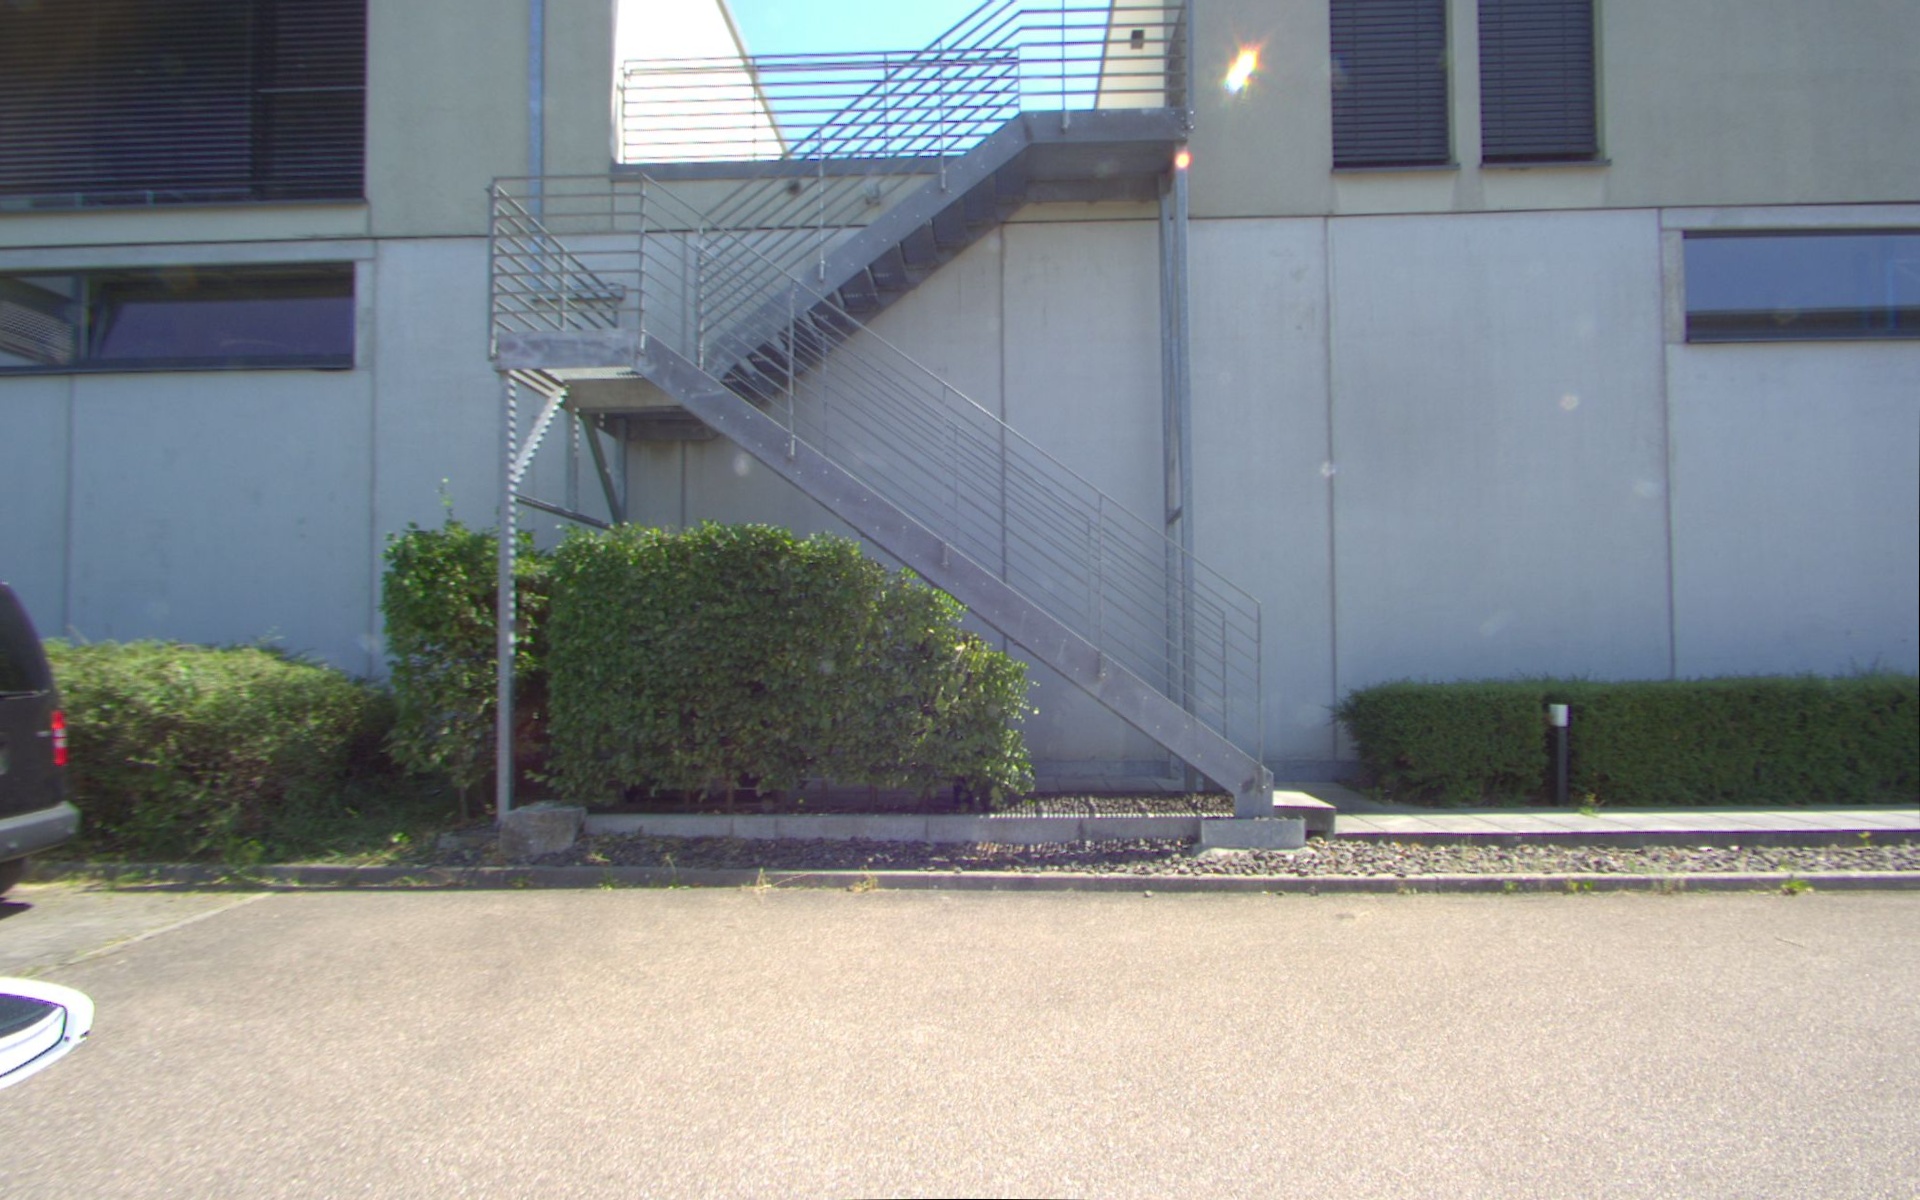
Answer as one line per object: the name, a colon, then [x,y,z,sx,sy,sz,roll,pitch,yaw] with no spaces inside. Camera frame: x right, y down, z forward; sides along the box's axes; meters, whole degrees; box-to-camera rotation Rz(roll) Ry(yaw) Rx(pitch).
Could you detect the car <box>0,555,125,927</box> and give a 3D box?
car: [-6.780,0.721,4.931,3.922,1.860,1.749,-1,-1,2]
